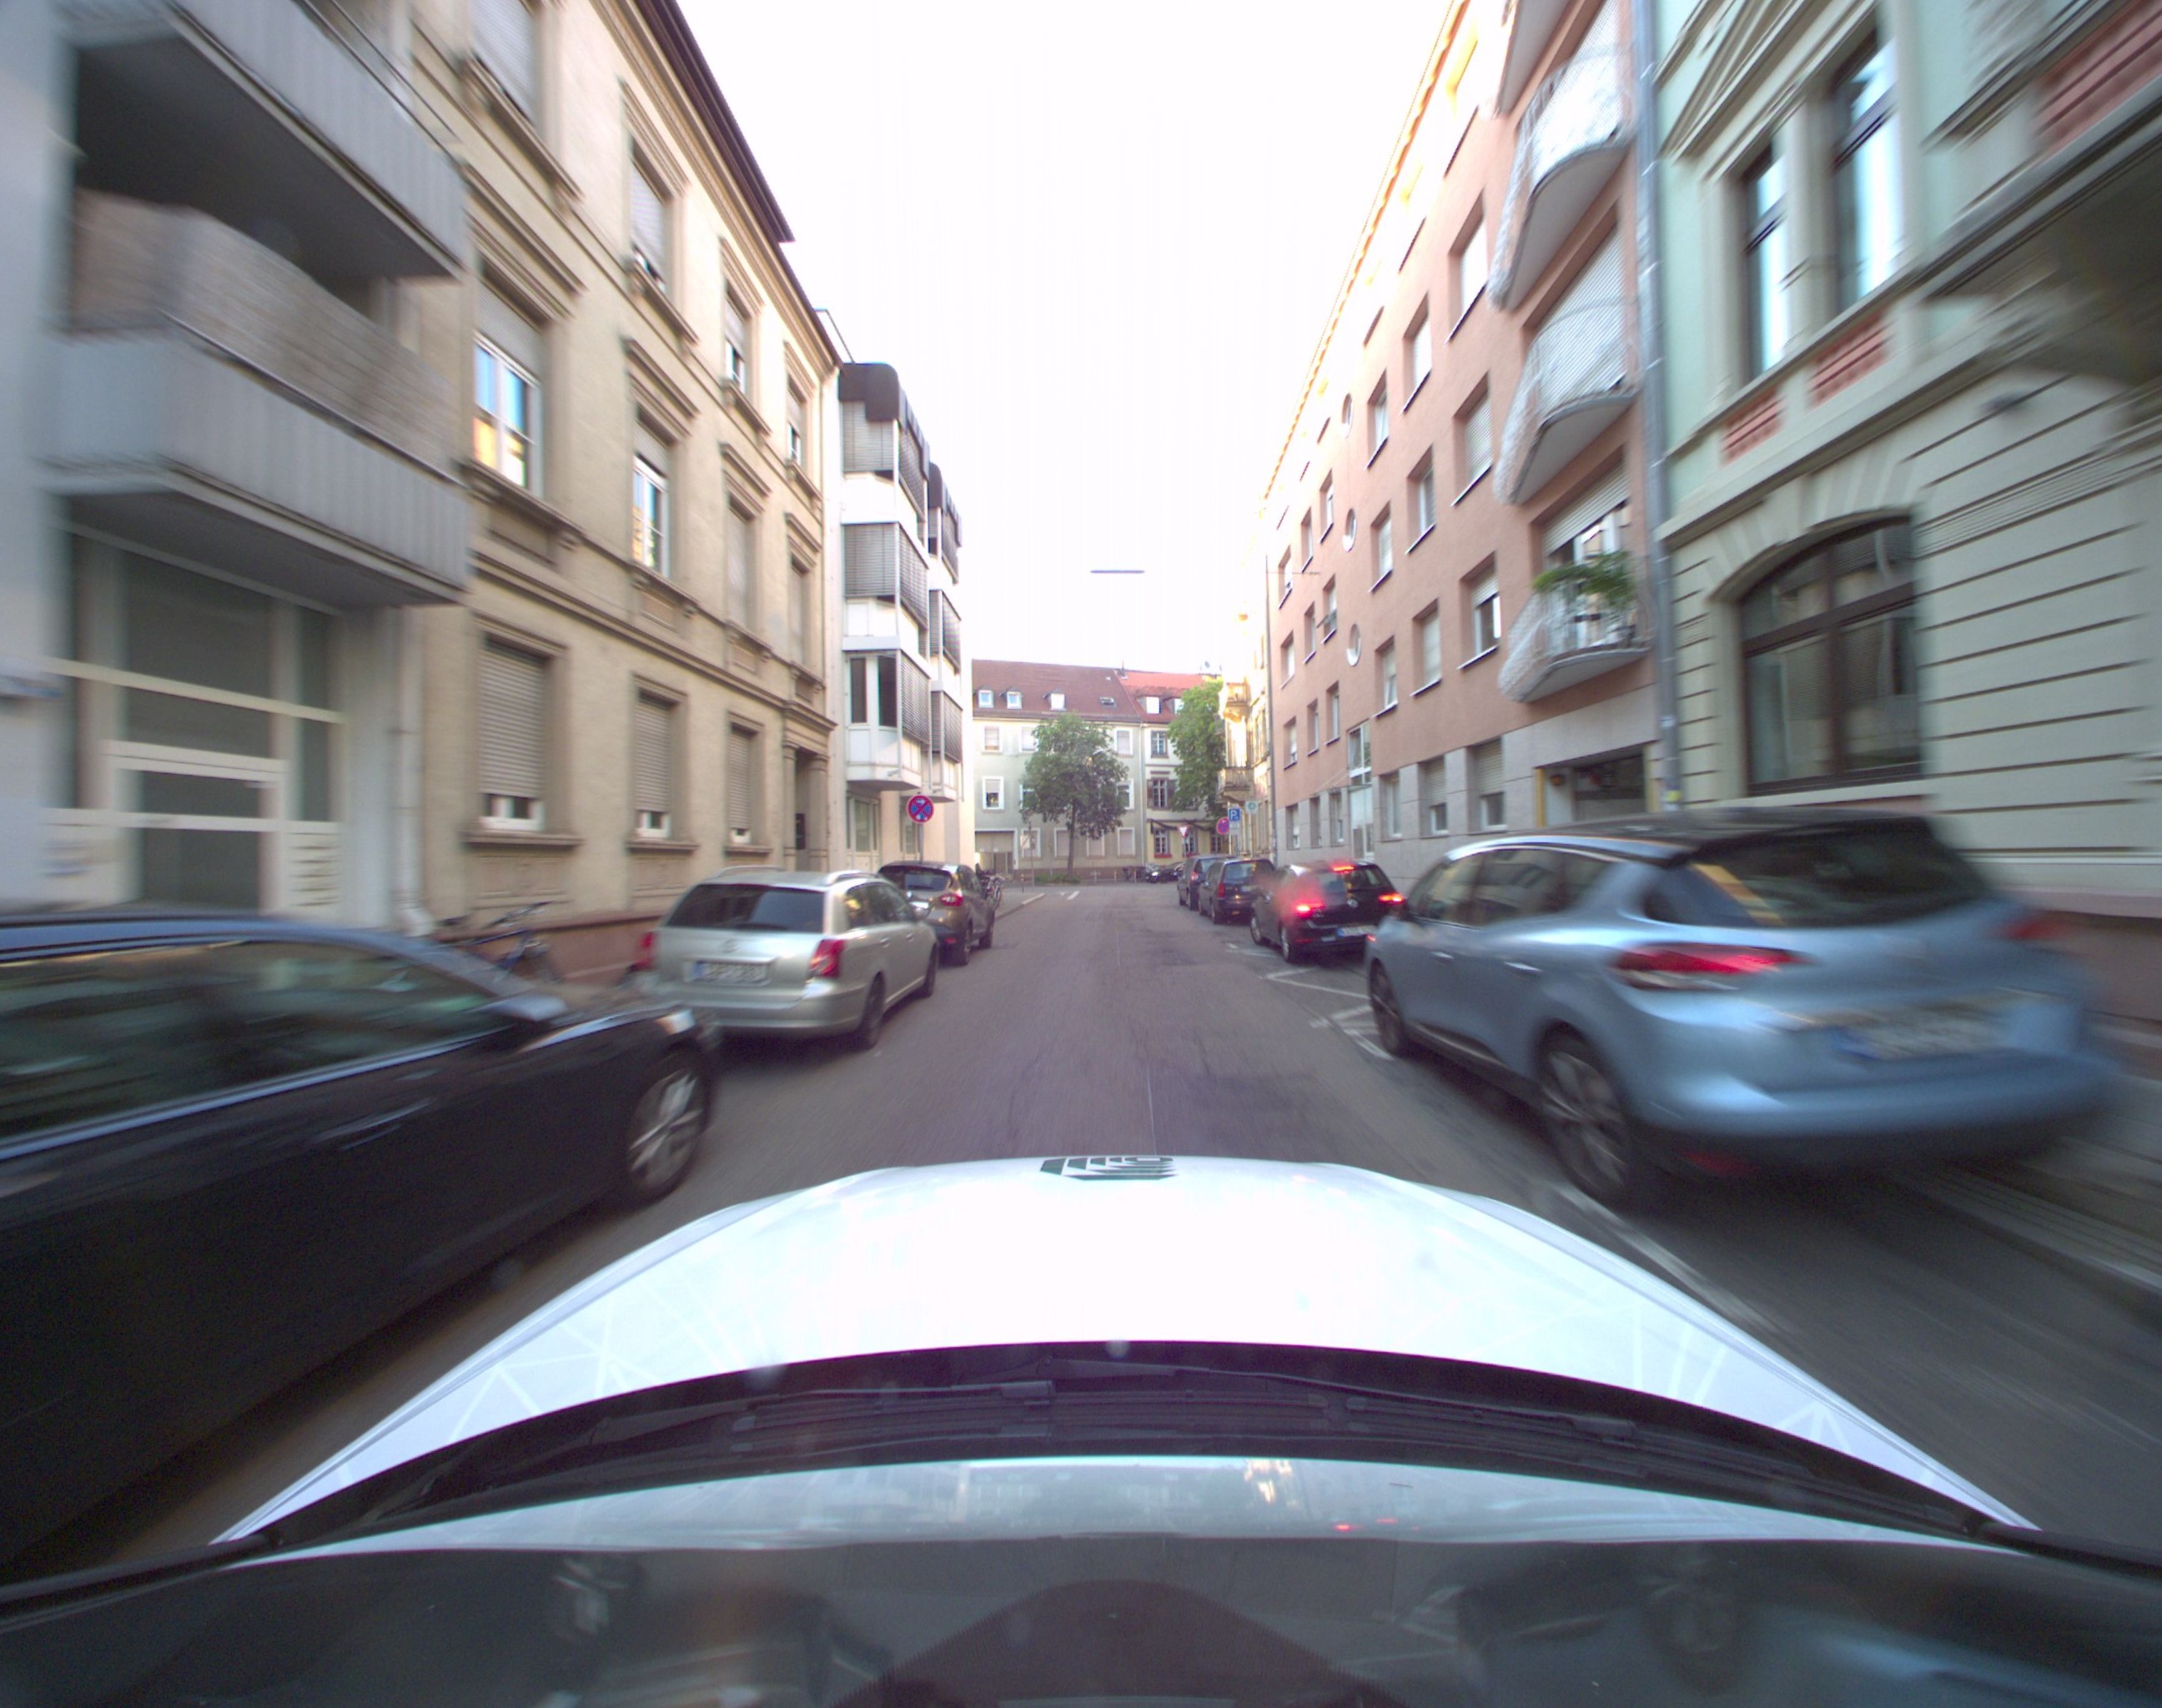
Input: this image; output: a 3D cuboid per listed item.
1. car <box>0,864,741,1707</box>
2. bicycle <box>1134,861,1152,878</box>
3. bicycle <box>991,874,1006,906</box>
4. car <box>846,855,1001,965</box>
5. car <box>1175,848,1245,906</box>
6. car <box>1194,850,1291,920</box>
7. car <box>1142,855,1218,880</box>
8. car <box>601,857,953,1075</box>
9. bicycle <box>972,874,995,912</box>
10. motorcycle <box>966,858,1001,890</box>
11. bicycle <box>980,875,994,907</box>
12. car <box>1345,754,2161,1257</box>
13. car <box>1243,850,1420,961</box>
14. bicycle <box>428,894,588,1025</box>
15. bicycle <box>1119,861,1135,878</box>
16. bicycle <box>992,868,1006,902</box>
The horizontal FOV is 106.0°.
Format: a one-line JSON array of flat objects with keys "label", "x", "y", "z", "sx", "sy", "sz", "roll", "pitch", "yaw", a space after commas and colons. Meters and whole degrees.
[{"label": "car", "x": -2.876, "y": 0.841, "z": 2.265, "sx": 1.783, "sy": 1.539, "sz": 4.497, "roll": -1, "pitch": 0, "yaw": 2}, {"label": "bicycle", "x": 4.248, "y": 1.057, "z": 56.202, "sx": 0.446, "sy": 1.145, "sz": 2.029, "roll": -2, "pitch": 0, "yaw": -19}, {"label": "bicycle", "x": -2.643, "y": 1.148, "z": 26.257, "sx": 0.306, "sy": 0.932, "sz": 1.812, "roll": -1, "pitch": 0, "yaw": -1}, {"label": "car", "x": -2.523, "y": 0.828, "z": 14.031, "sx": 1.784, "sy": 1.576, "sz": 4.071, "roll": -1, "pitch": 0, "yaw": 1}, {"label": "car", "x": 3.938, "y": 0.667, "z": 25.431, "sx": 1.683, "sy": 1.625, "sz": 4.057, "roll": -1, "pitch": 0, "yaw": 2}, {"label": "car", "x": 3.890, "y": 0.700, "z": 20.254, "sx": 1.683, "sy": 1.514, "sz": 4.285, "roll": -1, "pitch": 0, "yaw": 2}, {"label": "car", "x": 6.492, "y": 0.893, "z": 53.643, "sx": 4.667, "sy": 1.450, "sz": 1.757, "roll": -2, "pitch": 0, "yaw": -19}, {"label": "car", "x": -2.571, "y": 0.827, "z": 8.173, "sx": 1.784, "sy": 1.539, "sz": 4.435, "roll": -1, "pitch": 0, "yaw": 1}, {"label": "bicycle", "x": -2.870, "y": 1.128, "z": 23.981, "sx": 0.305, "sy": 1.042, "sz": 1.815, "roll": -3, "pitch": 0, "yaw": 3}, {"label": "motorcycle", "x": -4.936, "y": 1.014, "z": 41.214, "sx": 0.673, "sy": 1.555, "sz": 2.137, "roll": -1, "pitch": -1, "yaw": -40}, {"label": "bicycle", "x": -2.988, "y": 1.159, "z": 25.839, "sx": 0.306, "sy": 0.932, "sz": 1.811, "roll": -1, "pitch": 0, "yaw": -3}, {"label": "car", "x": 3.042, "y": 0.542, "z": 4.929, "sx": 1.683, "sy": 1.741, "sz": 4.112, "roll": -1, "pitch": 0, "yaw": 2}, {"label": "car", "x": 3.780, "y": 0.704, "z": 13.035, "sx": 1.683, "sy": 1.458, "sz": 4.134, "roll": -1, "pitch": 0, "yaw": 2}, {"label": "bicycle", "x": -5.220, "y": 0.913, "z": 7.521, "sx": 0.290, "sy": 1.009, "sz": 1.545, "roll": -1, "pitch": 0, "yaw": 3}, {"label": "bicycle", "x": 3.277, "y": 1.075, "z": 57.762, "sx": 0.446, "sy": 1.145, "sz": 2.031, "roll": -2, "pitch": 0, "yaw": -16}, {"label": "bicycle", "x": -2.843, "y": 1.060, "z": 28.247, "sx": 0.399, "sy": 1.102, "sz": 1.811, "roll": -1, "pitch": 0, "yaw": -3}]
